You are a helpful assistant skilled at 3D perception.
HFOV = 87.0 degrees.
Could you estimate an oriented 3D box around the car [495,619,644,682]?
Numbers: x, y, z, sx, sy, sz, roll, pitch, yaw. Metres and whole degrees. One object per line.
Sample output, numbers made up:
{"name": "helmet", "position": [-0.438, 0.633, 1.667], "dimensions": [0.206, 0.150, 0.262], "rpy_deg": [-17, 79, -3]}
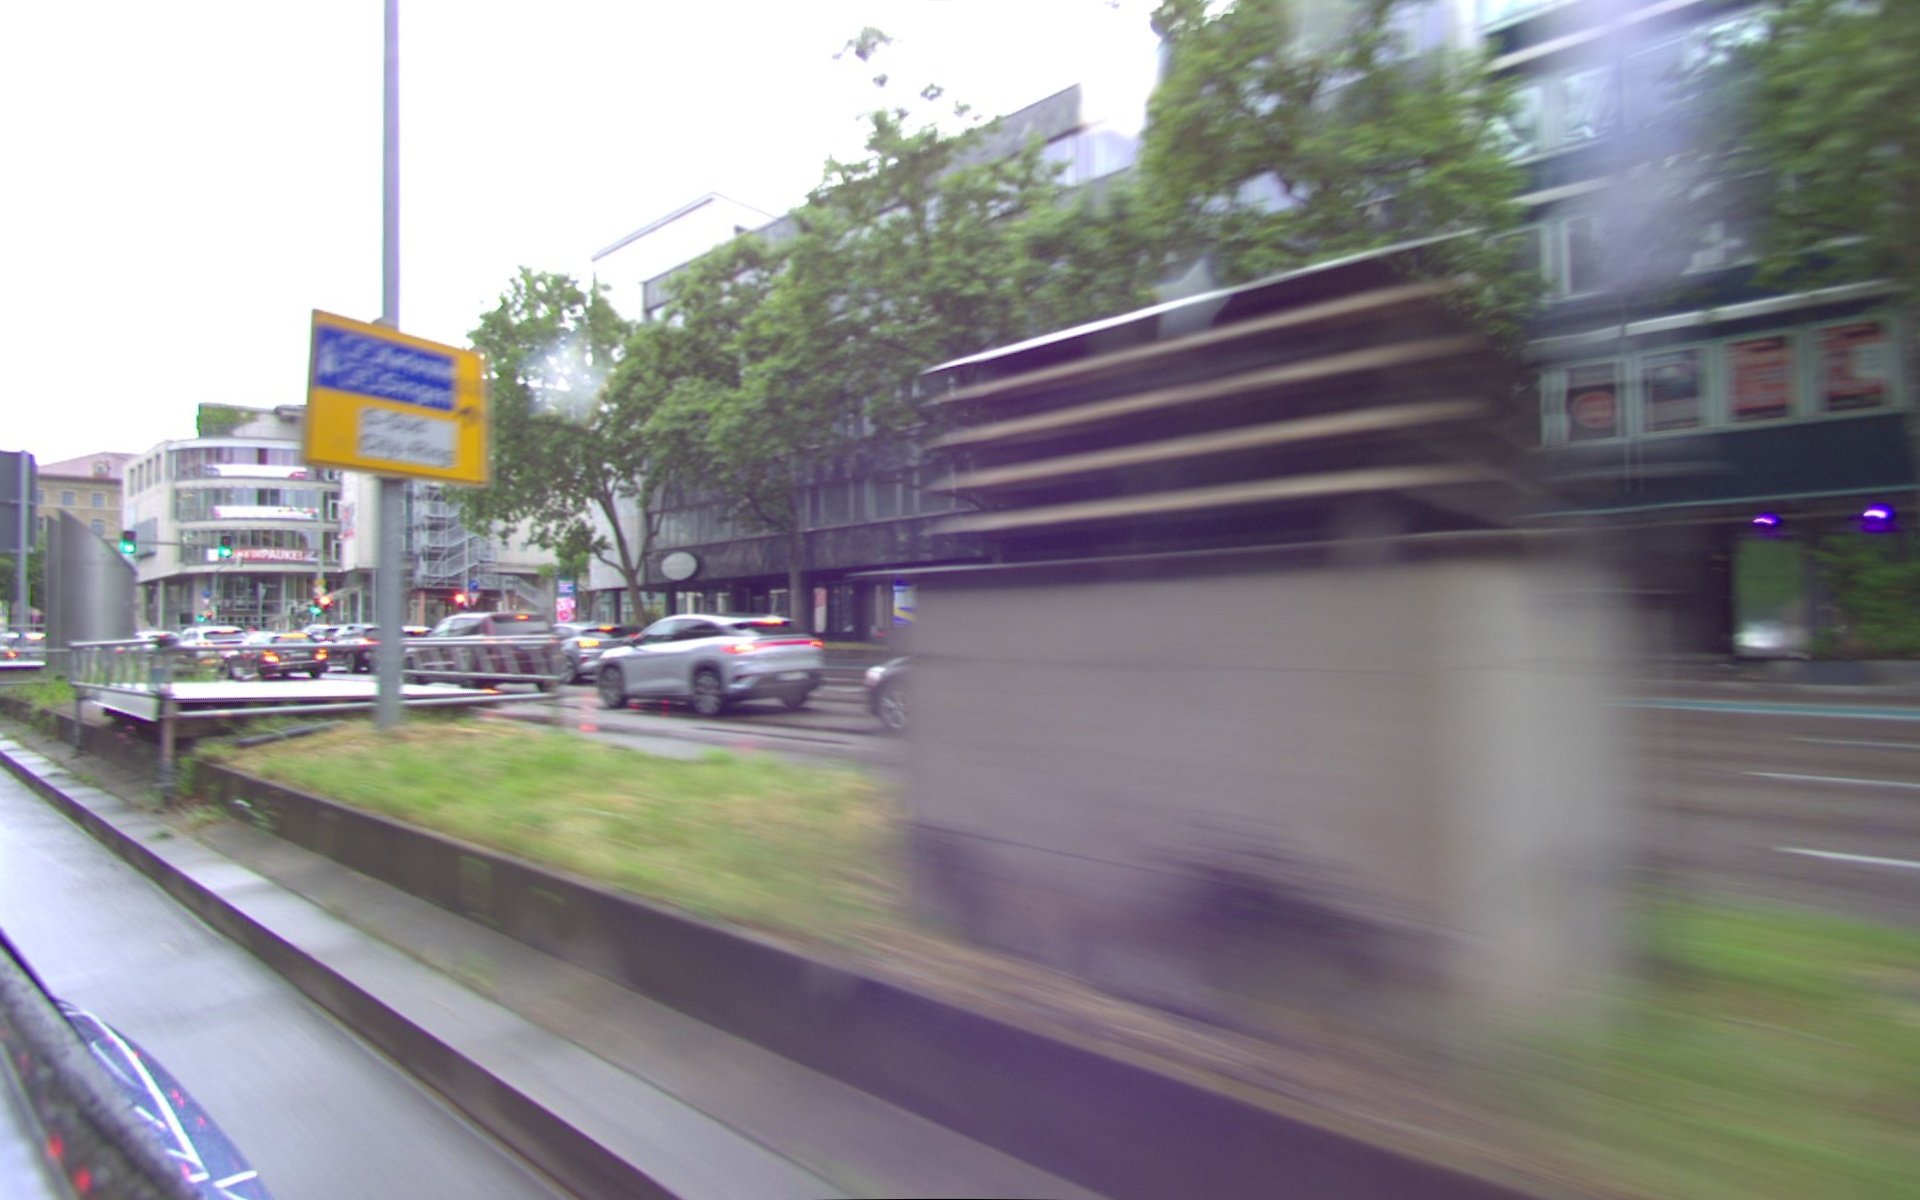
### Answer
{"name": "car", "position": [-10.278, 1.295, 26.479], "dimensions": [4.567, 1.502, 1.701], "rpy_deg": [-2, -2, 41]}

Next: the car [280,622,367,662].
{"name": "car", "position": [-28.074, 1.815, 44.584], "dimensions": [4.653, 1.630, 1.741], "rpy_deg": [-1, -1, 37]}

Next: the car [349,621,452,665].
{"name": "car", "position": [-22.440, 1.703, 40.544], "dimensions": [4.580, 1.616, 1.975], "rpy_deg": [-2, -1, 37]}

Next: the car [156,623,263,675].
{"name": "car", "position": [-26.602, 1.720, 35.812], "dimensions": [4.791, 1.698, 1.859], "rpy_deg": [-2, -2, 38]}

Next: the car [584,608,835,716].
{"name": "car", "position": [-4.374, 0.987, 17.164], "dimensions": [4.830, 1.585, 1.716], "rpy_deg": [-2, -2, 42]}

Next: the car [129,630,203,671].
{"name": "car", "position": [-31.404, 1.976, 40.024], "dimensions": [3.429, 1.487, 1.699], "rpy_deg": [-2, -2, 41]}

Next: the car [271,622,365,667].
{"name": "car", "position": [-23.847, 1.621, 37.538], "dimensions": [3.995, 1.577, 1.736], "rpy_deg": [-2, -1, 38]}

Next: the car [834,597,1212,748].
{"name": "car", "position": [0.635, 0.822, 12.711], "dimensions": [4.540, 1.564, 1.893], "rpy_deg": [-2, -2, 42]}

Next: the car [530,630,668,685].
{"name": "car", "position": [-11.136, 1.782, 31.061], "dimensions": [4.582, 1.458, 1.872], "rpy_deg": [-5, -3, 39]}

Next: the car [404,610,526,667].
{"name": "car", "position": [-14.881, 1.122, 30.368], "dimensions": [3.995, 1.577, 1.736], "rpy_deg": [-2, -1, 38]}

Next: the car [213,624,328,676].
{"name": "car", "position": [-21.688, 1.540, 31.746], "dimensions": [4.914, 1.462, 1.824], "rpy_deg": [-2, -2, 41]}

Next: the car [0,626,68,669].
{"name": "car", "position": [-34.893, 1.773, 37.829], "dimensions": [4.162, 1.493, 1.824], "rpy_deg": [-2, -2, 41]}

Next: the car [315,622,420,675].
{"name": "car", "position": [-20.374, 1.633, 34.736], "dimensions": [4.410, 1.678, 1.824], "rpy_deg": [-2, -2, 41]}

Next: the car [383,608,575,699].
{"name": "car", "position": [-10.640, 1.137, 22.194], "dimensions": [5.104, 1.780, 1.817], "rpy_deg": [-2, -2, 39]}
